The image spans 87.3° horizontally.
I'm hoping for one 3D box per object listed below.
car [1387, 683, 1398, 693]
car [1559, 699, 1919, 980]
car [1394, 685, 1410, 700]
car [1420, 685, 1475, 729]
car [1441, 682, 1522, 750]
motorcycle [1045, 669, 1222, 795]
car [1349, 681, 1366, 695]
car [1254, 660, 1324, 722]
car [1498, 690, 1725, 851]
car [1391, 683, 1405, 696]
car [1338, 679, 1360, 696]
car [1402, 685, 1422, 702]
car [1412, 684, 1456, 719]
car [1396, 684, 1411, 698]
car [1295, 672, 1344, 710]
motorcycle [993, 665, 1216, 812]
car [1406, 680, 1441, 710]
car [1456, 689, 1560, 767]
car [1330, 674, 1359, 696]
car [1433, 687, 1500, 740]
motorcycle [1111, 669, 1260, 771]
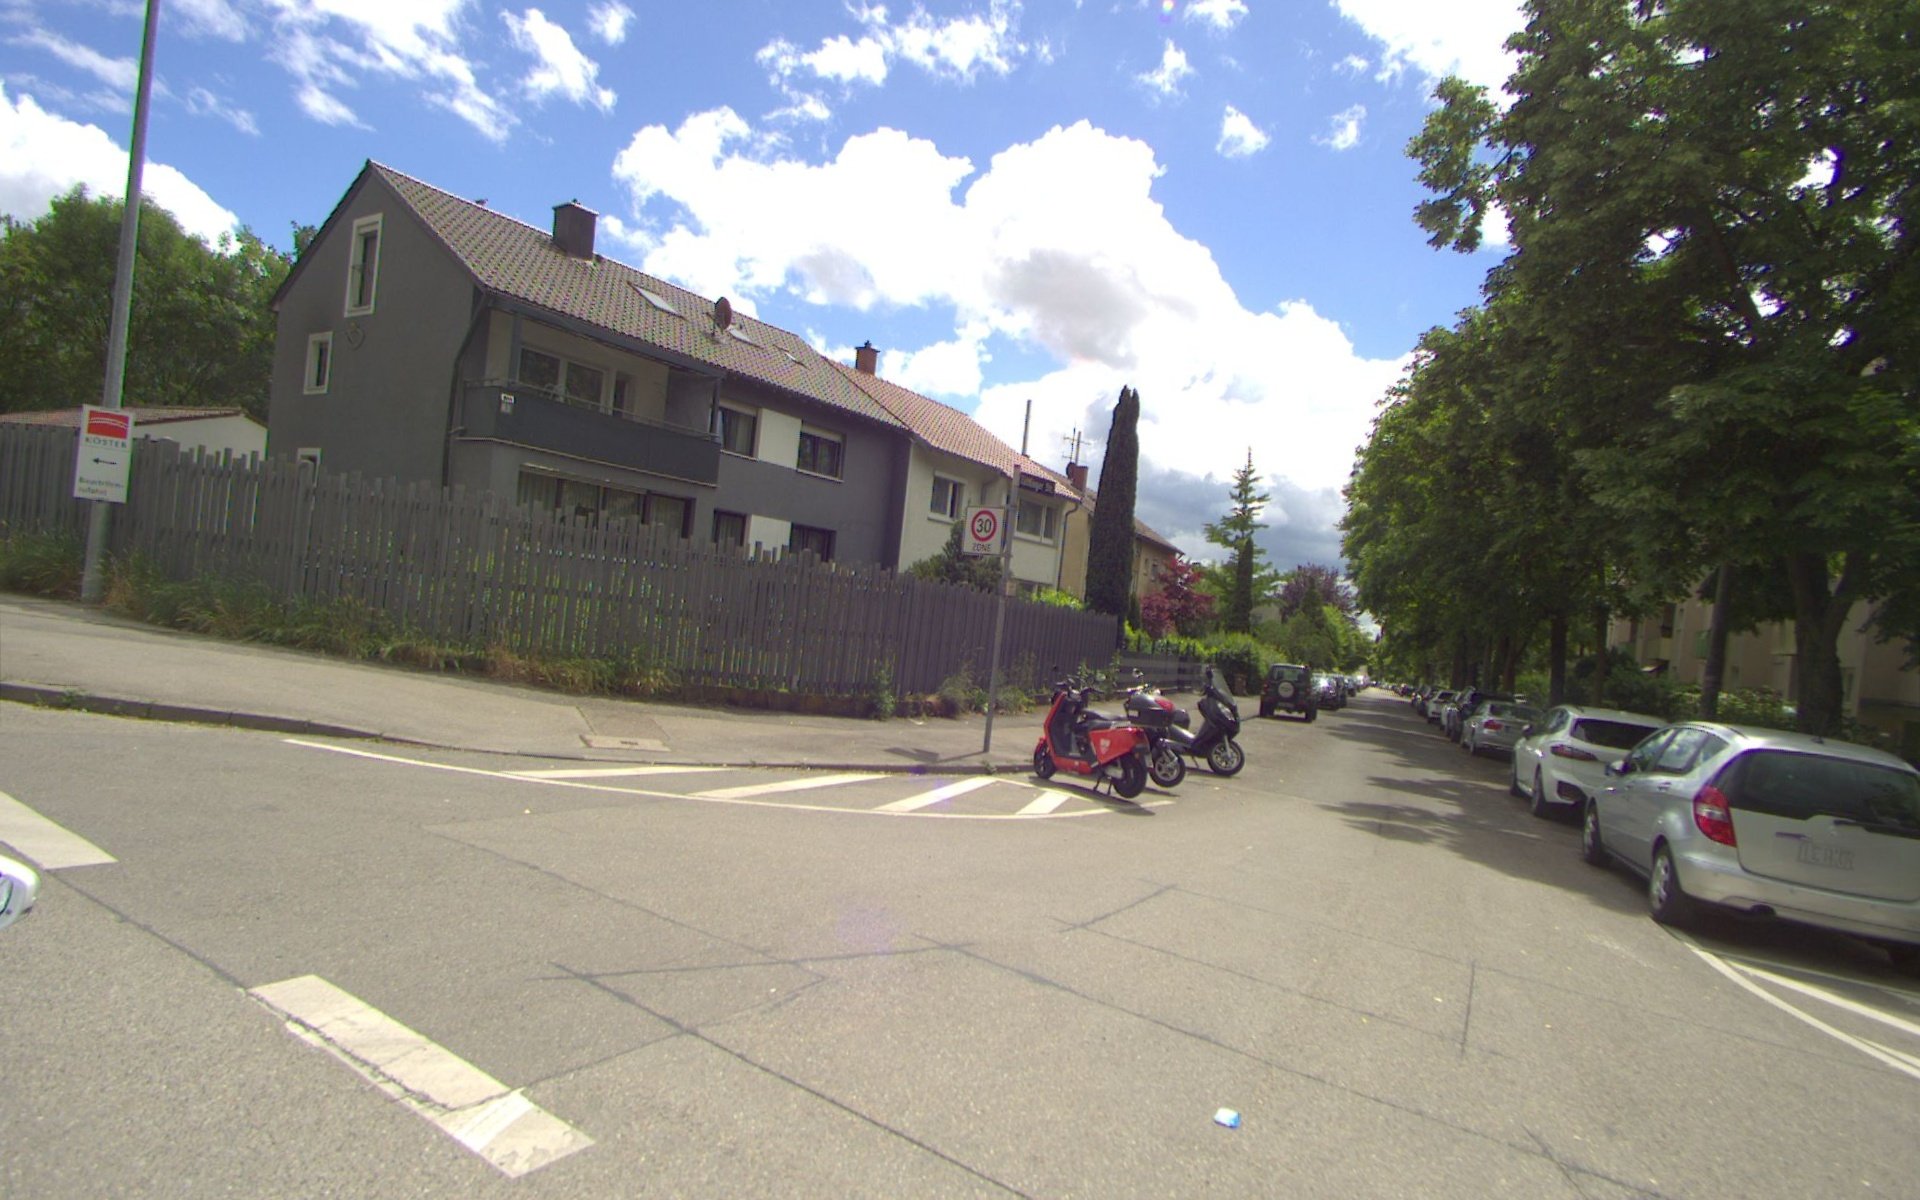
[{"bbox_3d":[77.668,15.811,180.574,1.568,1.524,3.959,7,-1,22],"label":"car"},{"bbox_3d":[6.803,1.847,8.798,1.903,1.572,4.000,7,-1,22],"label":"car"},{"bbox_3d":[54.620,11.391,124.346,1.568,1.524,3.959,7,-1,22],"label":"car"},{"bbox_3d":[19.959,4.334,41.291,1.568,1.428,3.959,7,-1,22],"label":"car"},{"bbox_3d":[15.634,3.418,30.329,1.568,1.640,3.959,7,-1,22],"label":"car"},{"bbox_3d":[2.009,1.528,11.914,0.656,1.162,1.970,8,-1,-42],"label":"motorcycle"},{"bbox_3d":[49.226,10.884,124.602,1.710,1.335,3.958,7,-1,24],"label":"car"},{"bbox_3d":[10.583,2.867,32.194,1.710,1.659,3.959,7,-1,22],"label":"car"},{"bbox_3d":[9.034,2.261,14.333,1.749,1.582,4.018,8,0,22],"label":"car"},{"bbox_3d":[65.600,13.403,150.738,1.568,1.524,3.959,7,-1,22],"label":"car"},{"bbox_3d":[38.366,8.589,99.101,1.710,1.335,3.958,7,-1,24],"label":"car"},{"bbox_3d":[46.756,9.670,104.139,1.568,1.524,3.959,7,-1,22],"label":"car"},{"bbox_3d":[23.694,5.035,50.421,1.568,1.428,3.959,7,-1,22],"label":"car"},{"bbox_3d":[59.407,12.200,134.757,1.568,1.524,3.959,7,-1,22],"label":"car"},{"bbox_3d":[15.468,3.863,43.216,1.710,1.335,3.959,7,-1,22],"label":"car"},{"bbox_3d":[1.480,1.428,10.802,0.656,1.162,2.396,8,-2,-42],"label":"motorcycle"},{"bbox_3d":[28.343,5.805,61.628,1.568,1.524,3.959,7,-1,22],"label":"car"},{"bbox_3d":[13.805,3.163,25.534,1.660,1.525,3.959,7,-1,22],"label":"car"},{"bbox_3d":[28.124,6.191,73.541,1.710,1.335,3.958,7,-1,24],"label":"car"},{"bbox_3d":[17.607,3.907,35.095,1.568,1.428,3.959,7,-1,22],"label":"car"},{"bbox_3d":[3.210,1.706,14.494,0.656,1.162,1.970,8,-1,-42],"label":"motorcycle"}]
